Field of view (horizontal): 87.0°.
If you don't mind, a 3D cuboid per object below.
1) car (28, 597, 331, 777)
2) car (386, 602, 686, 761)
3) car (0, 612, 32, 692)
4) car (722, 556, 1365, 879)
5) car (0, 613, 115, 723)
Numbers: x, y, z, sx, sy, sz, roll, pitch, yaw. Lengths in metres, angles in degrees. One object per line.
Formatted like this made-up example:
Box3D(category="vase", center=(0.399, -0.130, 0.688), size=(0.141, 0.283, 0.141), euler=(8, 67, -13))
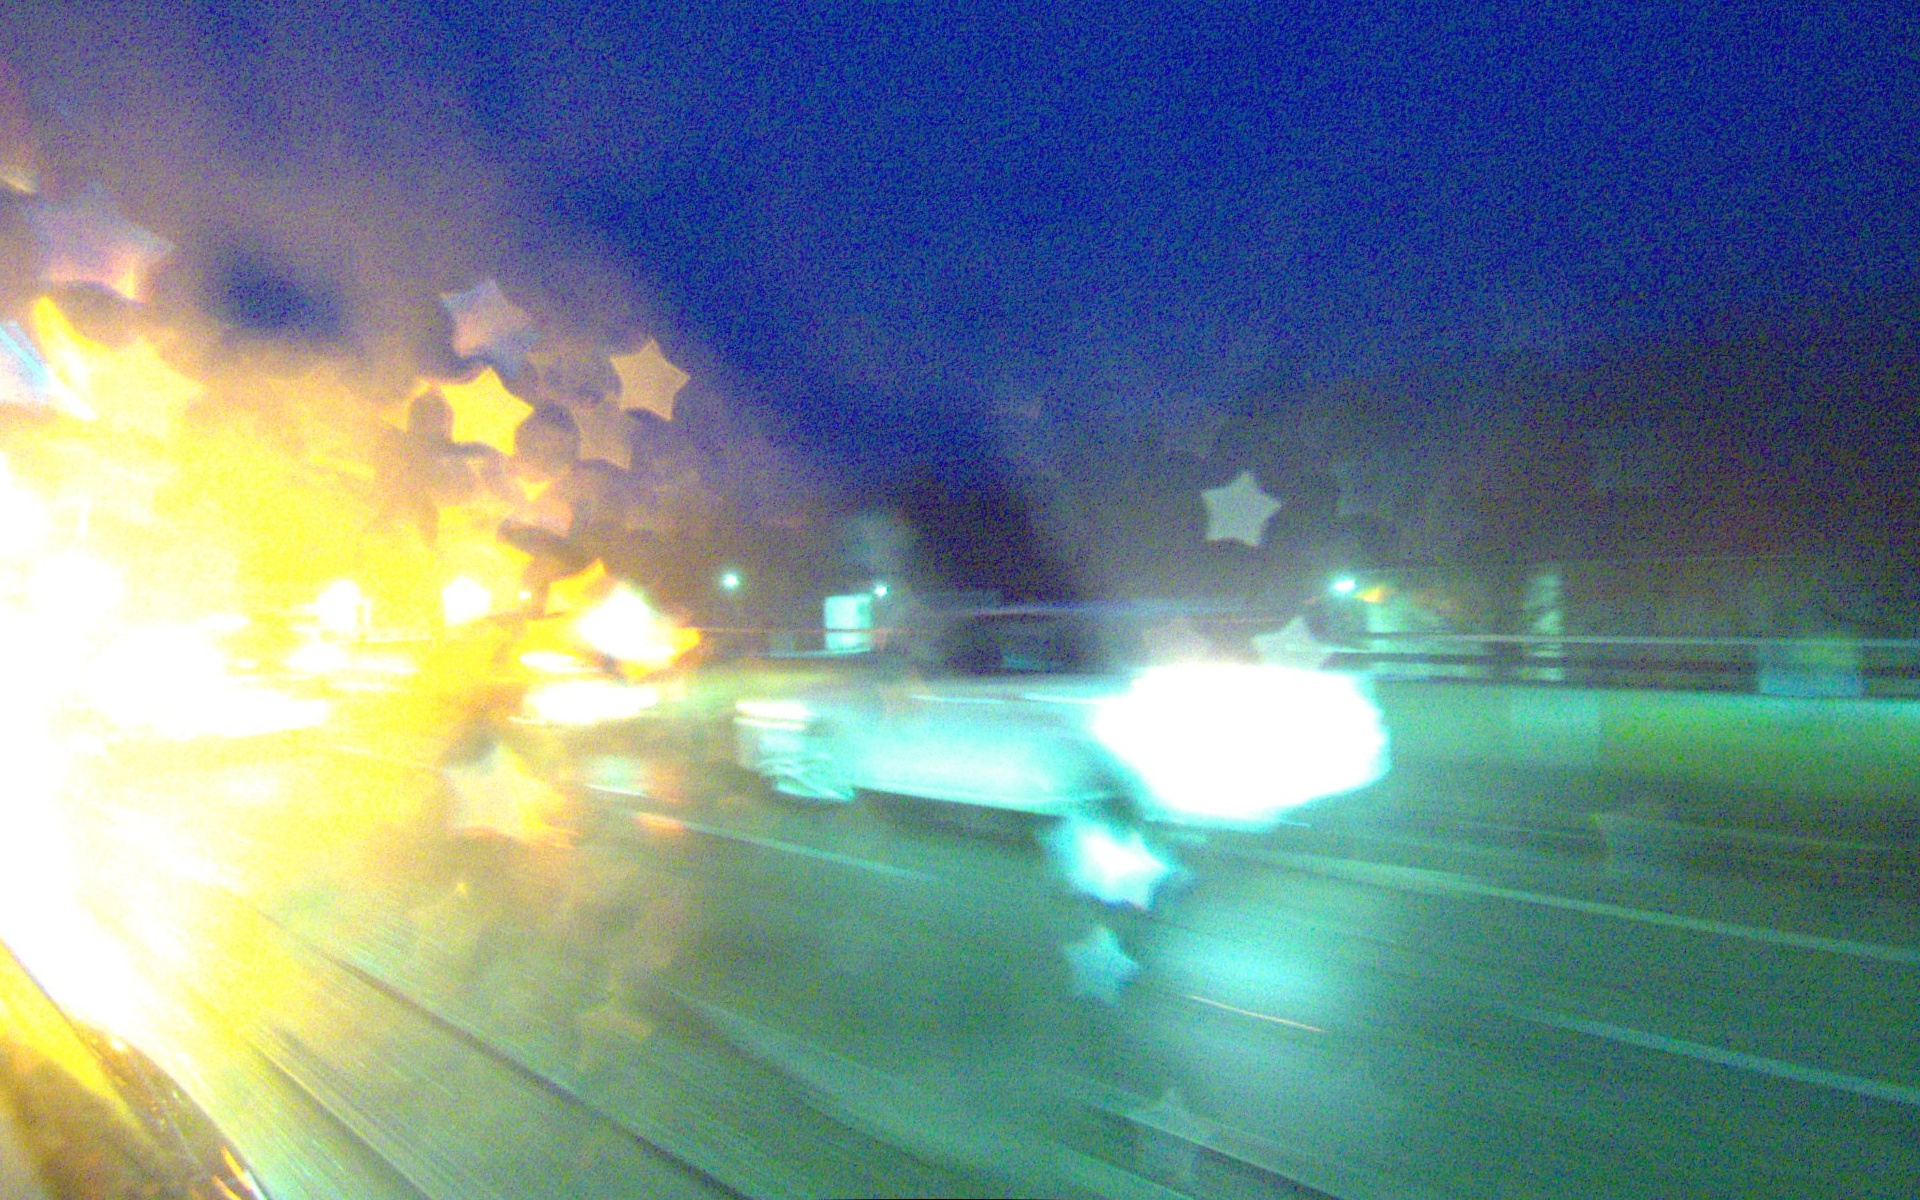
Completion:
Box3D(category="car", center=(-8.927, 0.845, 11.432), size=(4.412, 1.642, 1.787), euler=(-2, 0, 40))
Box3D(category="car", center=(-5.003, 0.829, 11.717), size=(3.826, 1.519, 1.702), euler=(-2, 0, 41))
Box3D(category="car", center=(-22.111, 1.151, 22.395), size=(4.442, 1.681, 1.825), euler=(-2, -1, 41))
Box3D(category="car", center=(0.338, 0.616, 7.084), size=(4.310, 1.600, 1.702), euler=(-2, 0, 41))
Box3D(category="car", center=(-15.457, 1.058, 16.652), size=(4.596, 1.587, 1.824), euler=(-2, -1, 43))
